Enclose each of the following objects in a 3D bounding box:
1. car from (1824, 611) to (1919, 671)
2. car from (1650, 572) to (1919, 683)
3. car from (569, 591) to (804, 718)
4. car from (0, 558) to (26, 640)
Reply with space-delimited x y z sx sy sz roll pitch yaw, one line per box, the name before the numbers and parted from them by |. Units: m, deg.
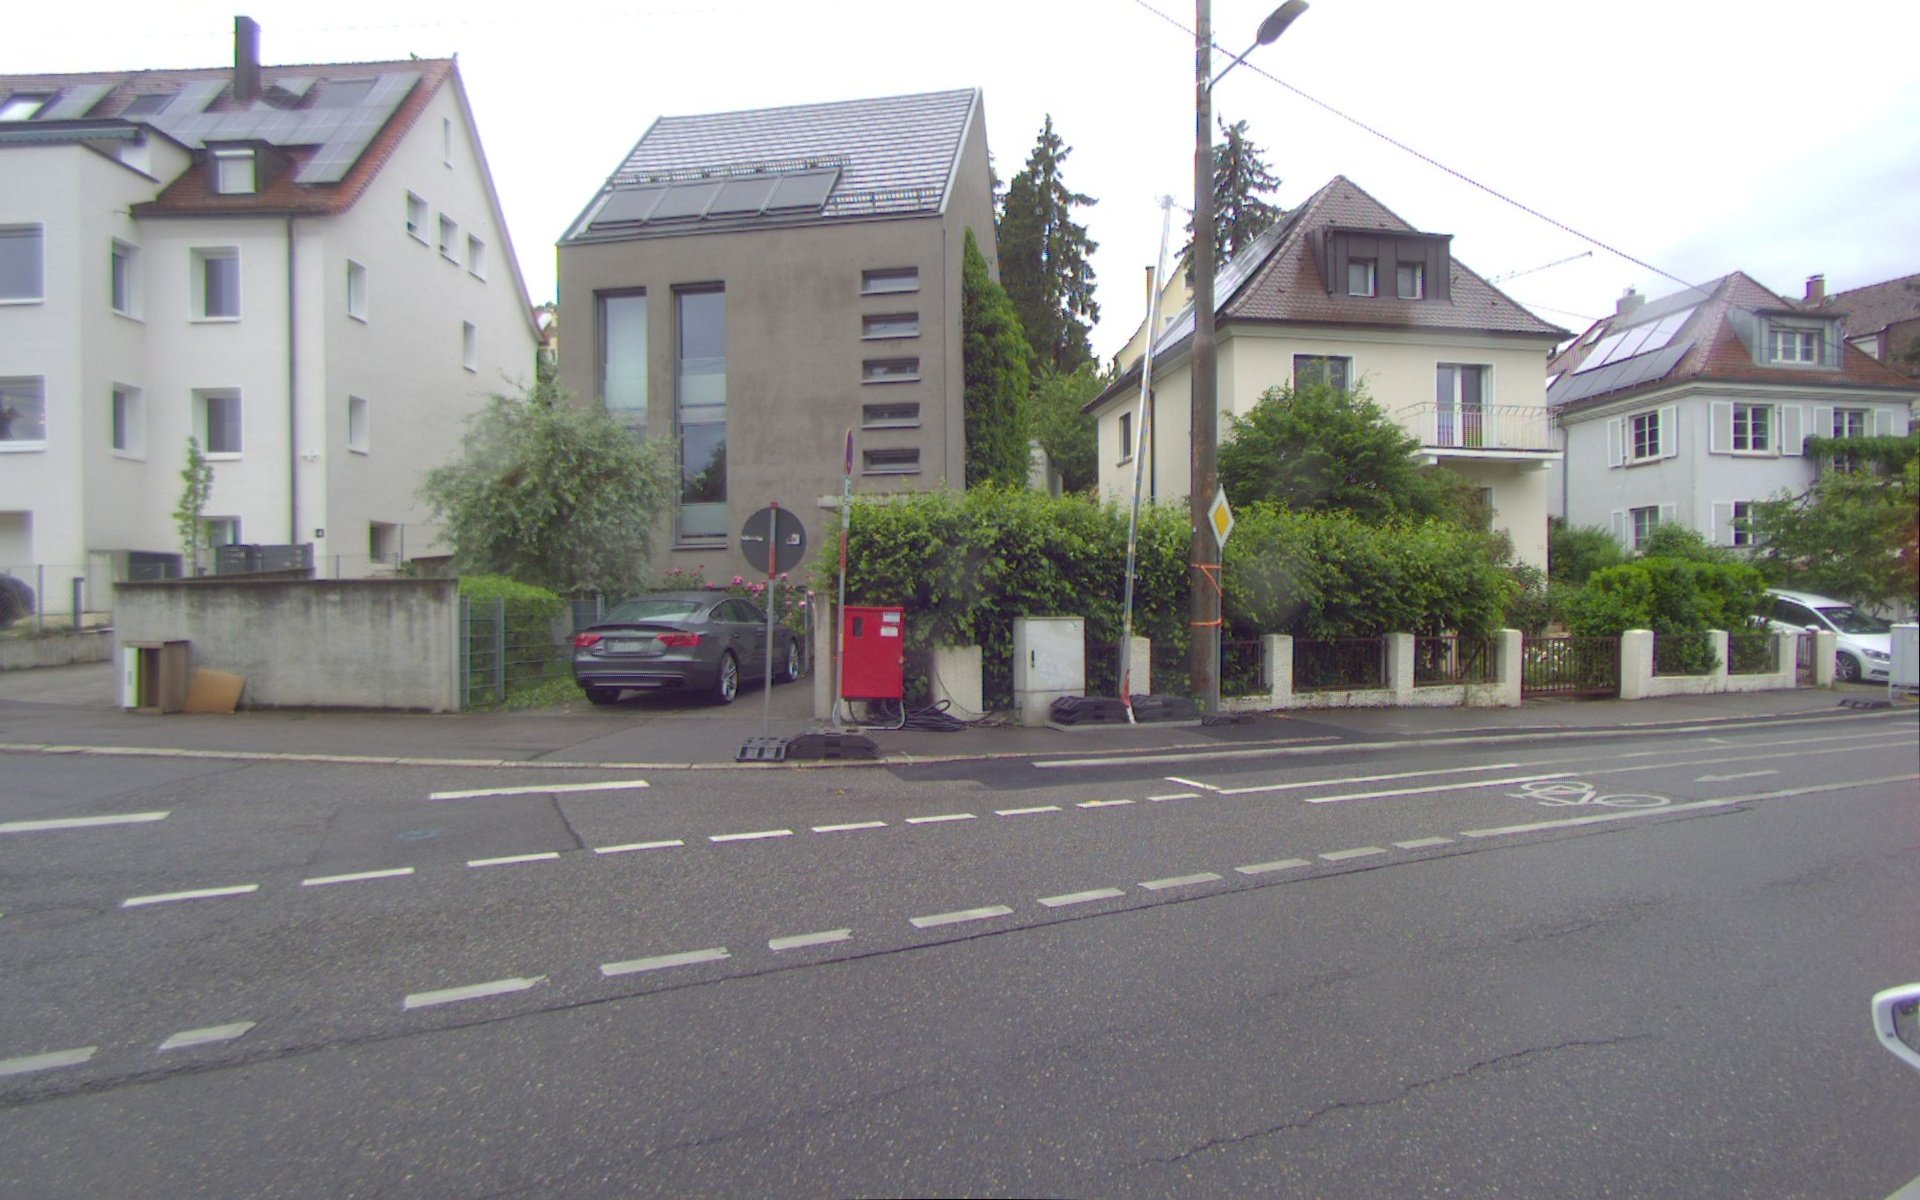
car | 26.060 1.115 26.945 1.909 1.546 3.986 2 0 -16
car | 19.457 0.530 23.811 1.833 1.639 4.960 0 10 -15
car | -3.496 0.604 13.709 1.581 1.387 4.265 0 1 7
car | -16.777 0.051 15.149 1.536 1.350 3.923 1 3 3
